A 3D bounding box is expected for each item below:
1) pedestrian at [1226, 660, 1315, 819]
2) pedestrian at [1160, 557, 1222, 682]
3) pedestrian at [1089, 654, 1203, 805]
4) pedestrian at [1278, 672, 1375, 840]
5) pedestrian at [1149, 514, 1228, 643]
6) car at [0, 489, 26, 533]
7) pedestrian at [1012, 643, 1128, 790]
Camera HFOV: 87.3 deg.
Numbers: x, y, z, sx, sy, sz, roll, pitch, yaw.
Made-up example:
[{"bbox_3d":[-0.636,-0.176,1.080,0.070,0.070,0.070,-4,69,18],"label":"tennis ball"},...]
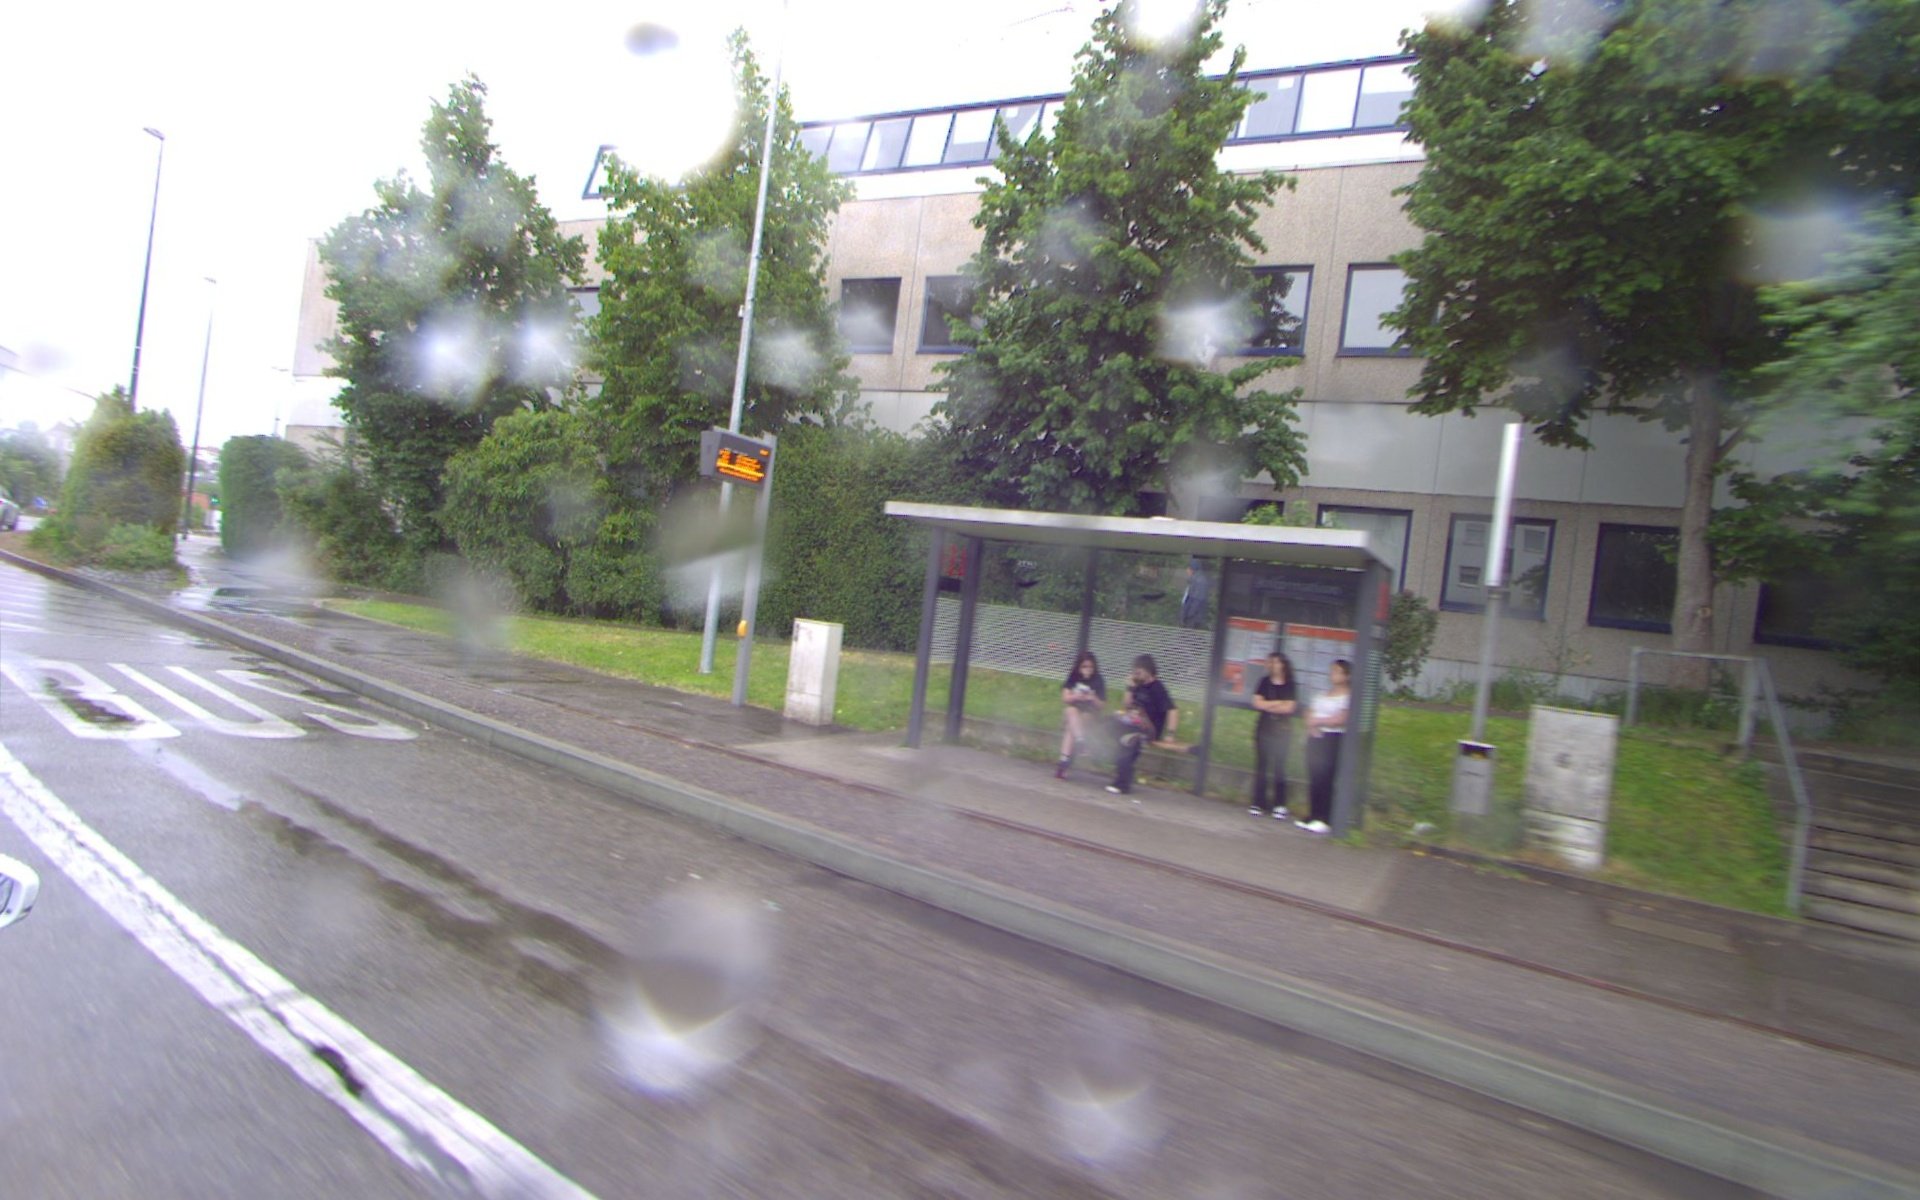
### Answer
[{"bbox_3d":[2.906,1.295,9.452,0.405,1.383,0.540,6,2,-19],"label":"pedestrian"},{"bbox_3d":[3.492,0.302,15.182,0.662,1.818,0.674,3,-2,25],"label":"pedestrian"},{"bbox_3d":[1.831,1.221,9.834,0.680,1.298,1.031,8,2,28],"label":"pedestrian"},{"bbox_3d":[3.251,1.375,8.951,0.405,1.383,0.540,6,2,-18],"label":"pedestrian"},{"bbox_3d":[3.510,-0.323,15.432,0.783,1.817,0.849,7,-1,28],"label":"pedestrian"},{"bbox_3d":[-33.482,-3.165,34.346,1.903,1.417,3.422,8,-1,-38],"label":"car"},{"bbox_3d":[1.109,1.123,10.020,0.680,1.298,1.031,8,2,28],"label":"pedestrian"}]
